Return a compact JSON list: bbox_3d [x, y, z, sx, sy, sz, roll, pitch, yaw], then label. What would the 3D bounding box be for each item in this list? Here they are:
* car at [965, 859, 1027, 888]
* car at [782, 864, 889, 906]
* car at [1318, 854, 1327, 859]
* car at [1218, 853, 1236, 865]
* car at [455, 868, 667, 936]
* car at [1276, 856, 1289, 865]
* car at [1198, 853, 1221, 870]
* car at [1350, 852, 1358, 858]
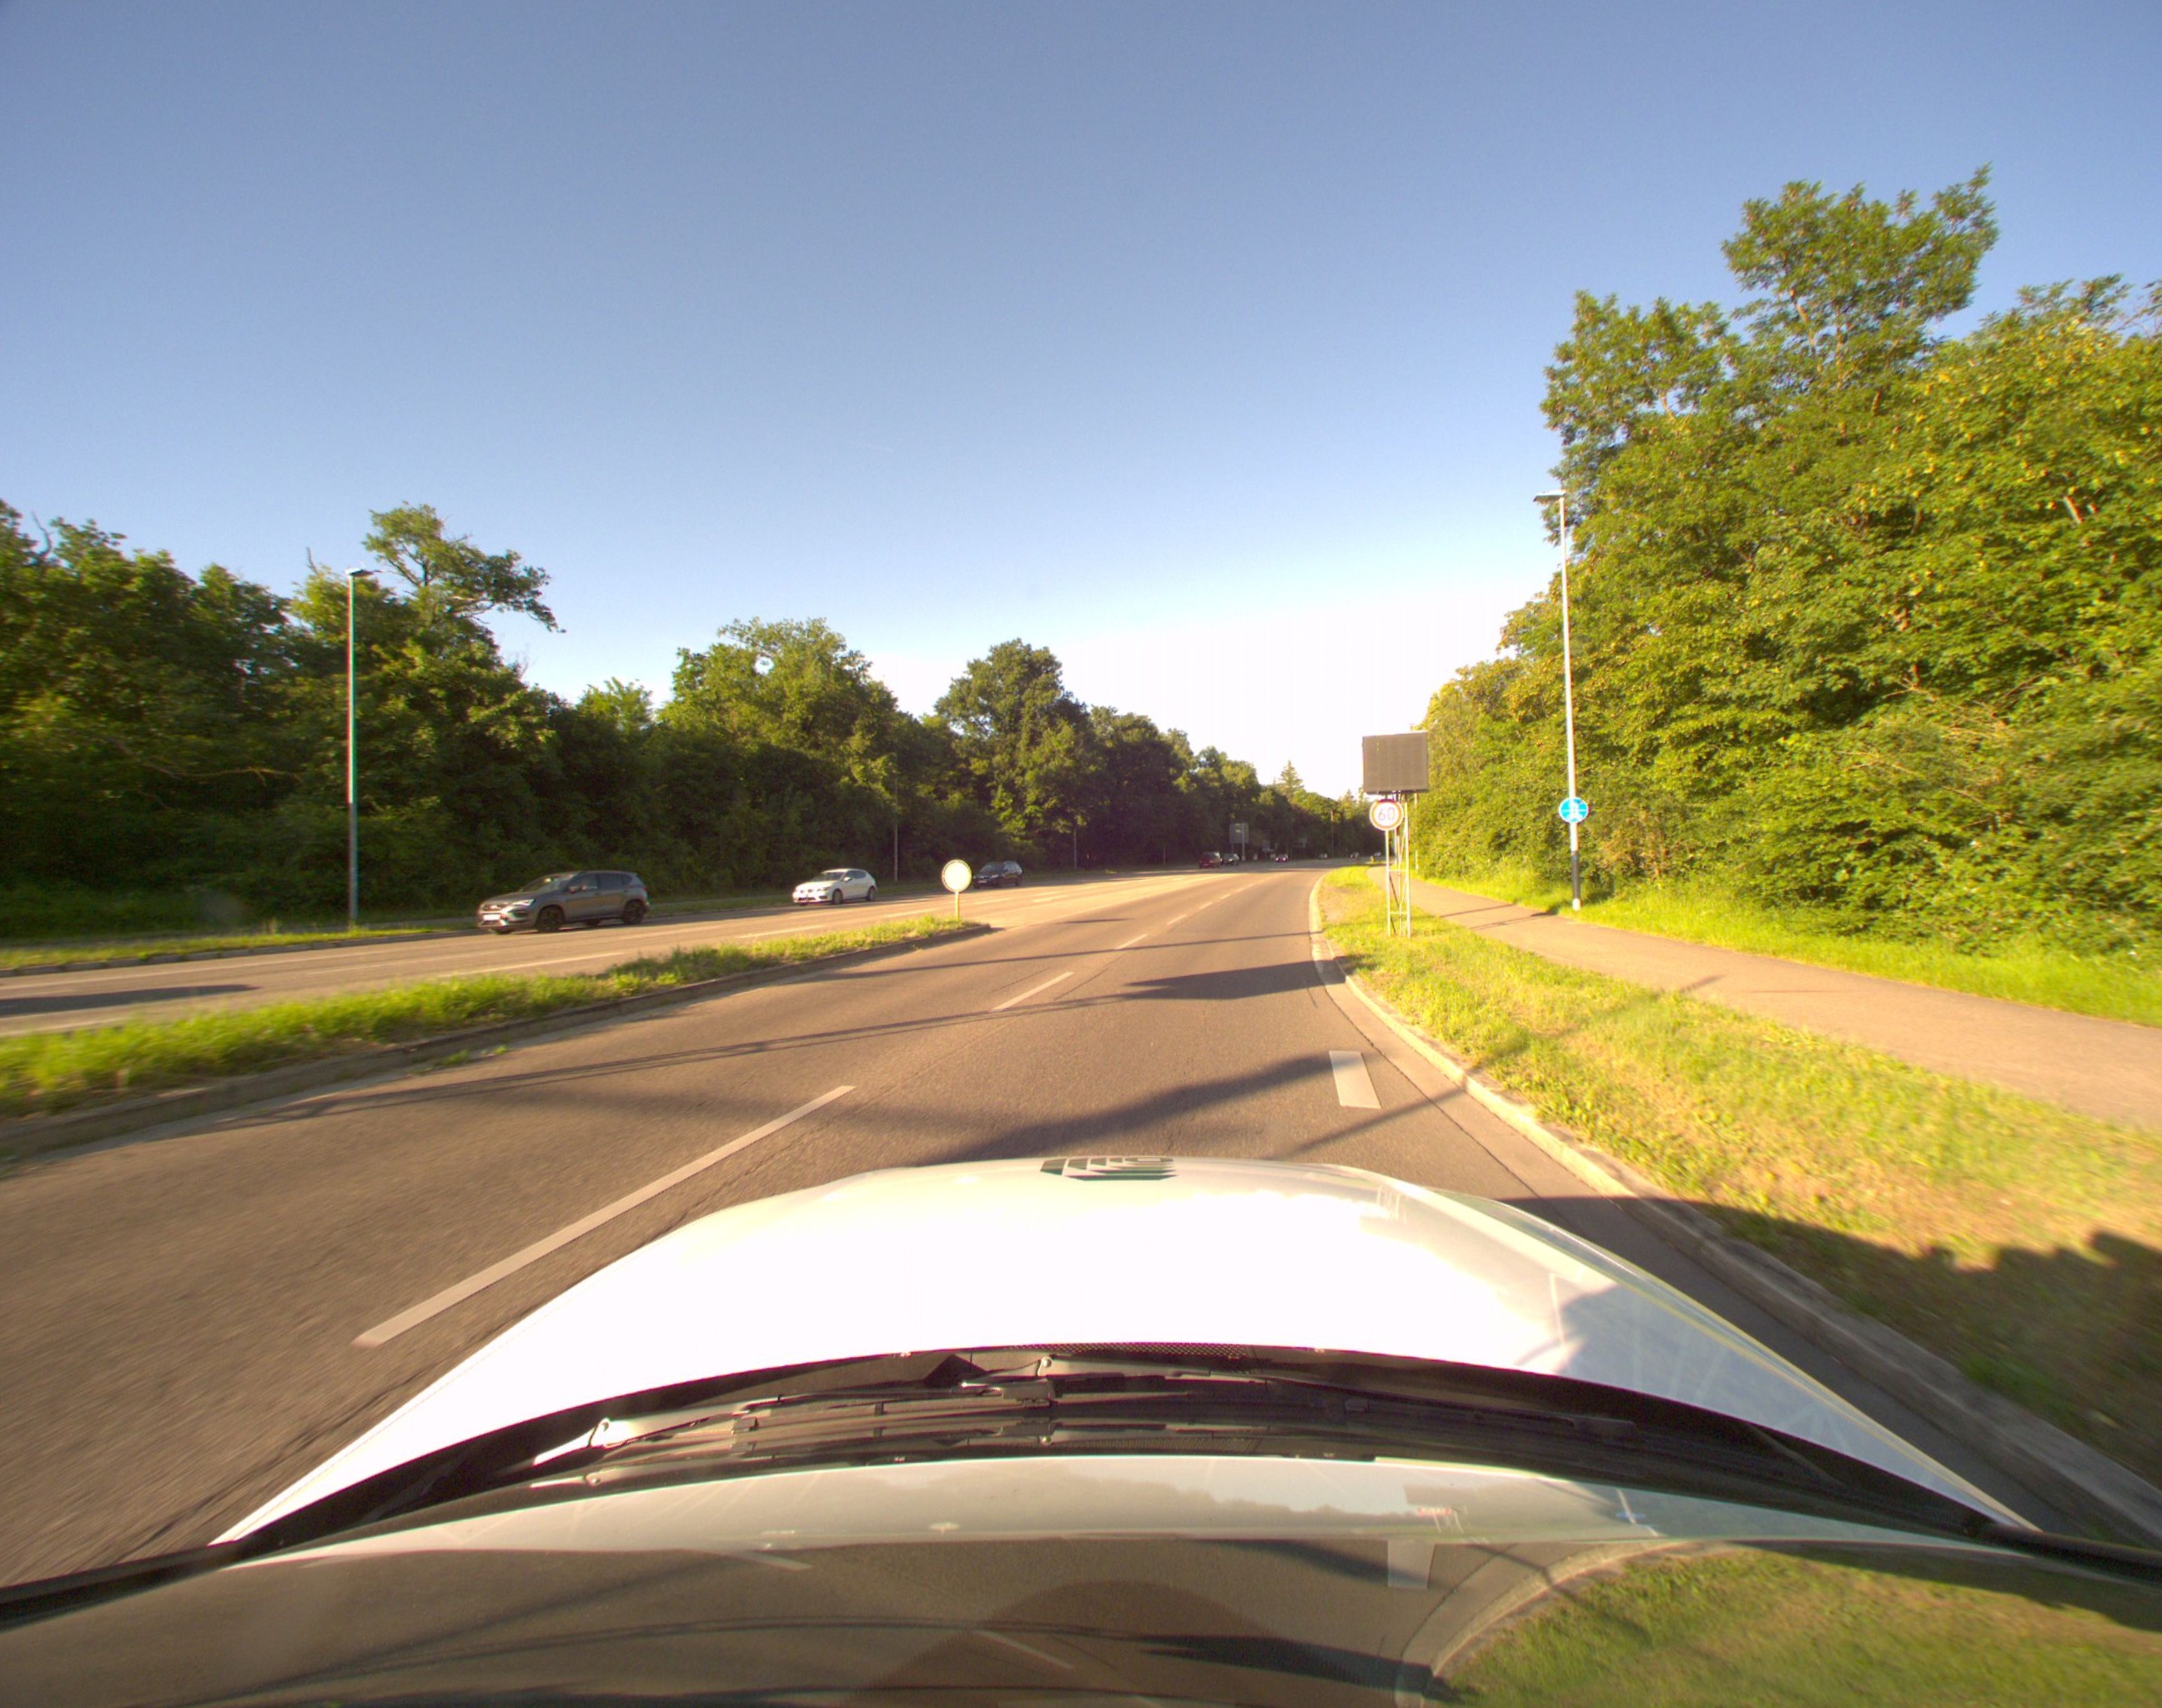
[{"bbox_3d":[-5.058,1.141,49.105,1.978,1.564,4.669,-2,-1,17],"label":"car"},{"bbox_3d":[-10.178,1.239,34.143,1.978,1.564,4.669,-2,-1,17],"label":"car"},{"bbox_3d":[57.799,0.596,194.860,1.729,1.234,4.696,-1,0,19],"label":"car"},{"bbox_3d":[20.975,0.660,116.651,1.978,1.637,4.865,-1,0,17],"label":"car"},{"bbox_3d":[-13.993,1.234,22.294,1.978,1.564,4.669,-2,-1,17],"label":"car"},{"bbox_3d":[37.228,1.117,150.374,1.977,1.564,4.359,-1,0,19],"label":"car"},{"bbox_3d":[15.330,0.852,97.044,1.978,1.962,4.669,-2,-1,17],"label":"car"},{"bbox_3d":[80.930,0.282,241.632,1.808,1.545,4.281,0,0,26],"label":"car"}]
